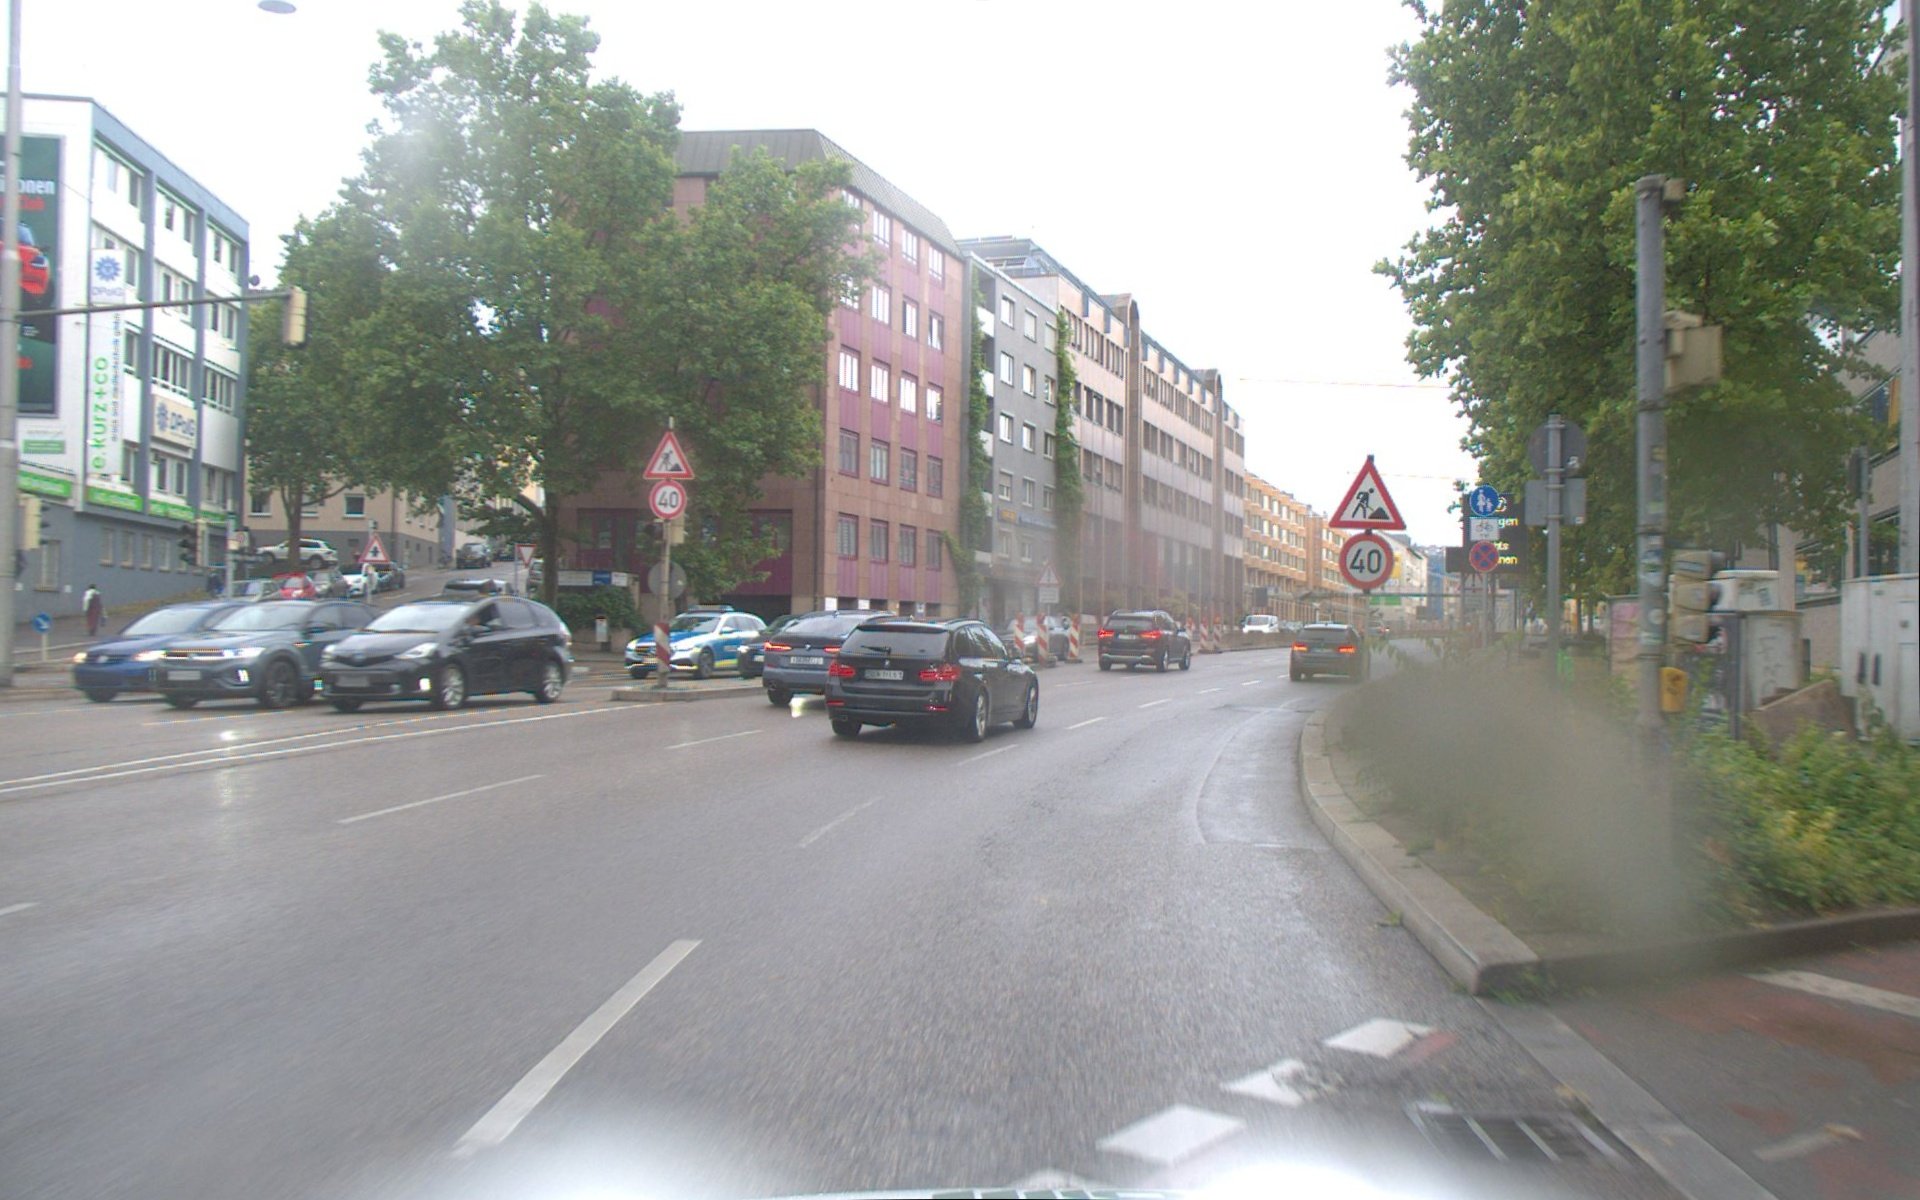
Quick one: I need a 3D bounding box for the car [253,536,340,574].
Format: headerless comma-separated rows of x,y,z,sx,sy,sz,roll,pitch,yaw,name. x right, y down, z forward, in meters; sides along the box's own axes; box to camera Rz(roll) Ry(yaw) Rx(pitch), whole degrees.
-38.121,-2.570,95.130,4.338,2.041,1.994,0,-1,-12,car

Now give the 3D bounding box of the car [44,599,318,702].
-12.522,0.803,26.900,1.725,1.539,4.123,0,-1,16,car

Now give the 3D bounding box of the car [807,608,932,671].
-2.537,1.119,47.694,1.952,1.707,4.939,-1,-1,18,car

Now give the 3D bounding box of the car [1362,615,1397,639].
30.405,1.986,119.813,1.861,1.723,3.999,-1,-1,22,car

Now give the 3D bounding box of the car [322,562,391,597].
-28.006,-0.977,76.917,1.796,1.455,4.070,0,4,-2,car

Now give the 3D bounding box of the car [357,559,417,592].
-28.296,-1.252,81.803,1.797,1.455,4.068,0,3,-4,car

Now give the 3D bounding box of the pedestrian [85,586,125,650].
-27.675,0.597,53.559,0.823,2.049,0.980,0,-2,-7,pedestrian

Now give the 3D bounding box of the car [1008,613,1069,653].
3.111,1.280,64.909,1.524,1.510,2.949,-1,0,21,car

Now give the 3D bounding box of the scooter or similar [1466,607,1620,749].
4.988,0.651,14.243,0.622,1.148,1.591,0,-1,-6,scooter or similar

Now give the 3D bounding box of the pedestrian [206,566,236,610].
-29.584,-0.468,66.190,0.823,1.748,0.980,0,-2,-7,pedestrian

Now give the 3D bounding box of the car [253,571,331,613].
-27.322,-0.355,67.778,1.797,1.455,4.068,0,4,-4,car

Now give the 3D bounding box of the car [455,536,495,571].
-31.388,-2.998,107.094,1.956,2.049,3.992,0,-1,-8,car

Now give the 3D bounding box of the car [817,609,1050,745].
-0.186,0.869,20.555,1.753,1.451,4.616,1,0,14,car

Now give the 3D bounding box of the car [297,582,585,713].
-7.204,0.652,23.513,1.814,1.651,4.596,-1,-1,13,car

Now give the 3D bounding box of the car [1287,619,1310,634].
38.719,3.063,189.222,1.952,1.648,4.763,-1,-1,20,car

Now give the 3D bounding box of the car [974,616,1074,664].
2.122,1.267,53.227,1.952,1.463,4.939,-1,-1,18,car

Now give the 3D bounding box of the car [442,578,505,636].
-18.122,0.230,61.784,1.897,1.900,3.989,2,2,-12,car

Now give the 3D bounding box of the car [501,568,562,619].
-17.961,-0.303,69.475,1.894,1.900,3.997,0,4,-6,car

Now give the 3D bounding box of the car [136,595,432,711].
-9.788,0.756,24.340,1.779,1.539,4.235,0,-1,16,car

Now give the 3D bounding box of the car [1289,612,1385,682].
9.803,1.198,42.855,1.861,1.723,4.000,-1,-1,21,car

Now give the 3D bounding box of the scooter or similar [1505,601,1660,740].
5.703,0.632,15.148,1.322,1.222,0.681,1,-2,-33,scooter or similar

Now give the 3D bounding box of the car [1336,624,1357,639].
40.926,3.305,174.905,1.821,1.560,4.232,0,-1,18,car

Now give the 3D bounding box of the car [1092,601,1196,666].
5.177,0.931,46.086,1.861,1.723,3.999,-1,-1,22,car

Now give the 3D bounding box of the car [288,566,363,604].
-27.664,-0.683,72.228,1.796,1.455,4.070,0,4,-2,car

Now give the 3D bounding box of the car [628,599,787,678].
-5.763,0.897,38.306,1.729,1.712,4.592,-1,-1,18,car

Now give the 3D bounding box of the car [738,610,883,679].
-3.252,0.984,36.780,1.729,1.442,4.084,-1,-1,18,car

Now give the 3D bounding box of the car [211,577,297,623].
-26.595,-0.033,62.418,1.797,1.488,4.173,0,4,-6,car

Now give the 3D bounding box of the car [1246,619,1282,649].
21.239,2.369,115.443,1.951,2.025,5.292,0,-1,17,car

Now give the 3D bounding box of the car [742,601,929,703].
-1.849,0.790,25.954,1.752,1.452,4.388,0,-1,12,car

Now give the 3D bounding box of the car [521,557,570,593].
-21.334,-1.317,85.241,1.894,1.703,3.996,0,3,-6,car

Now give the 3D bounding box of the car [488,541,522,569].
-33.182,-3.302,120.719,1.956,1.874,3.994,0,3,-8,car

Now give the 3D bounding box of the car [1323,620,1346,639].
35.742,2.813,157.825,1.685,1.801,4.426,-1,-1,19,car
